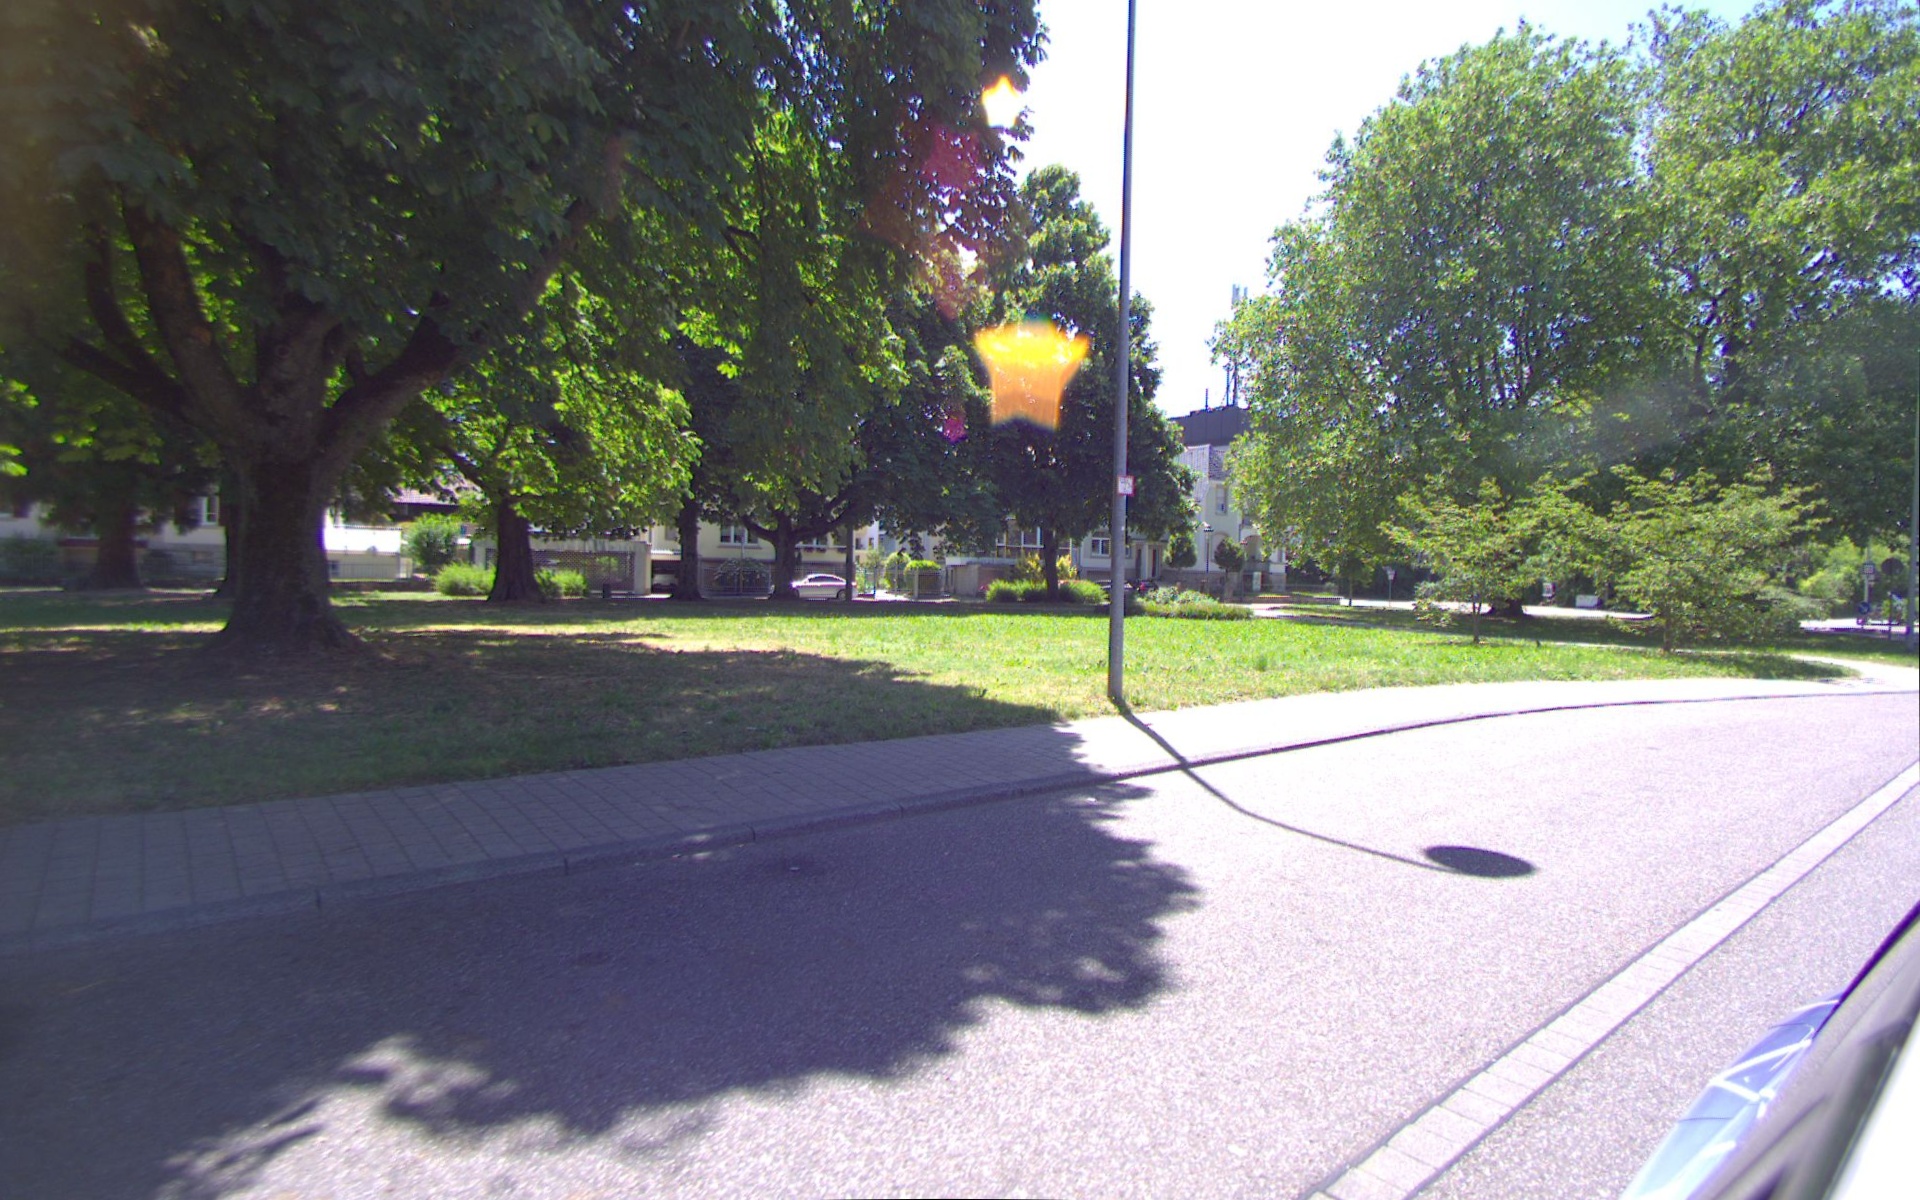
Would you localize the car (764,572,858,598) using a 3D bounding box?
[{"bbox_3d":[-7.885,-0.815,53.511,4.618,1.303,1.674,0,3,-25],"label":"car"}]

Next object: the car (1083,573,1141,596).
[{"bbox_3d":[10.093,-1.048,67.505,1.958,1.408,4.008,1,2,-24],"label":"car"}]

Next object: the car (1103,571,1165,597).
[{"bbox_3d":[11.948,-1.114,69.621,1.962,1.587,4.001,0,2,-35],"label":"car"}]
